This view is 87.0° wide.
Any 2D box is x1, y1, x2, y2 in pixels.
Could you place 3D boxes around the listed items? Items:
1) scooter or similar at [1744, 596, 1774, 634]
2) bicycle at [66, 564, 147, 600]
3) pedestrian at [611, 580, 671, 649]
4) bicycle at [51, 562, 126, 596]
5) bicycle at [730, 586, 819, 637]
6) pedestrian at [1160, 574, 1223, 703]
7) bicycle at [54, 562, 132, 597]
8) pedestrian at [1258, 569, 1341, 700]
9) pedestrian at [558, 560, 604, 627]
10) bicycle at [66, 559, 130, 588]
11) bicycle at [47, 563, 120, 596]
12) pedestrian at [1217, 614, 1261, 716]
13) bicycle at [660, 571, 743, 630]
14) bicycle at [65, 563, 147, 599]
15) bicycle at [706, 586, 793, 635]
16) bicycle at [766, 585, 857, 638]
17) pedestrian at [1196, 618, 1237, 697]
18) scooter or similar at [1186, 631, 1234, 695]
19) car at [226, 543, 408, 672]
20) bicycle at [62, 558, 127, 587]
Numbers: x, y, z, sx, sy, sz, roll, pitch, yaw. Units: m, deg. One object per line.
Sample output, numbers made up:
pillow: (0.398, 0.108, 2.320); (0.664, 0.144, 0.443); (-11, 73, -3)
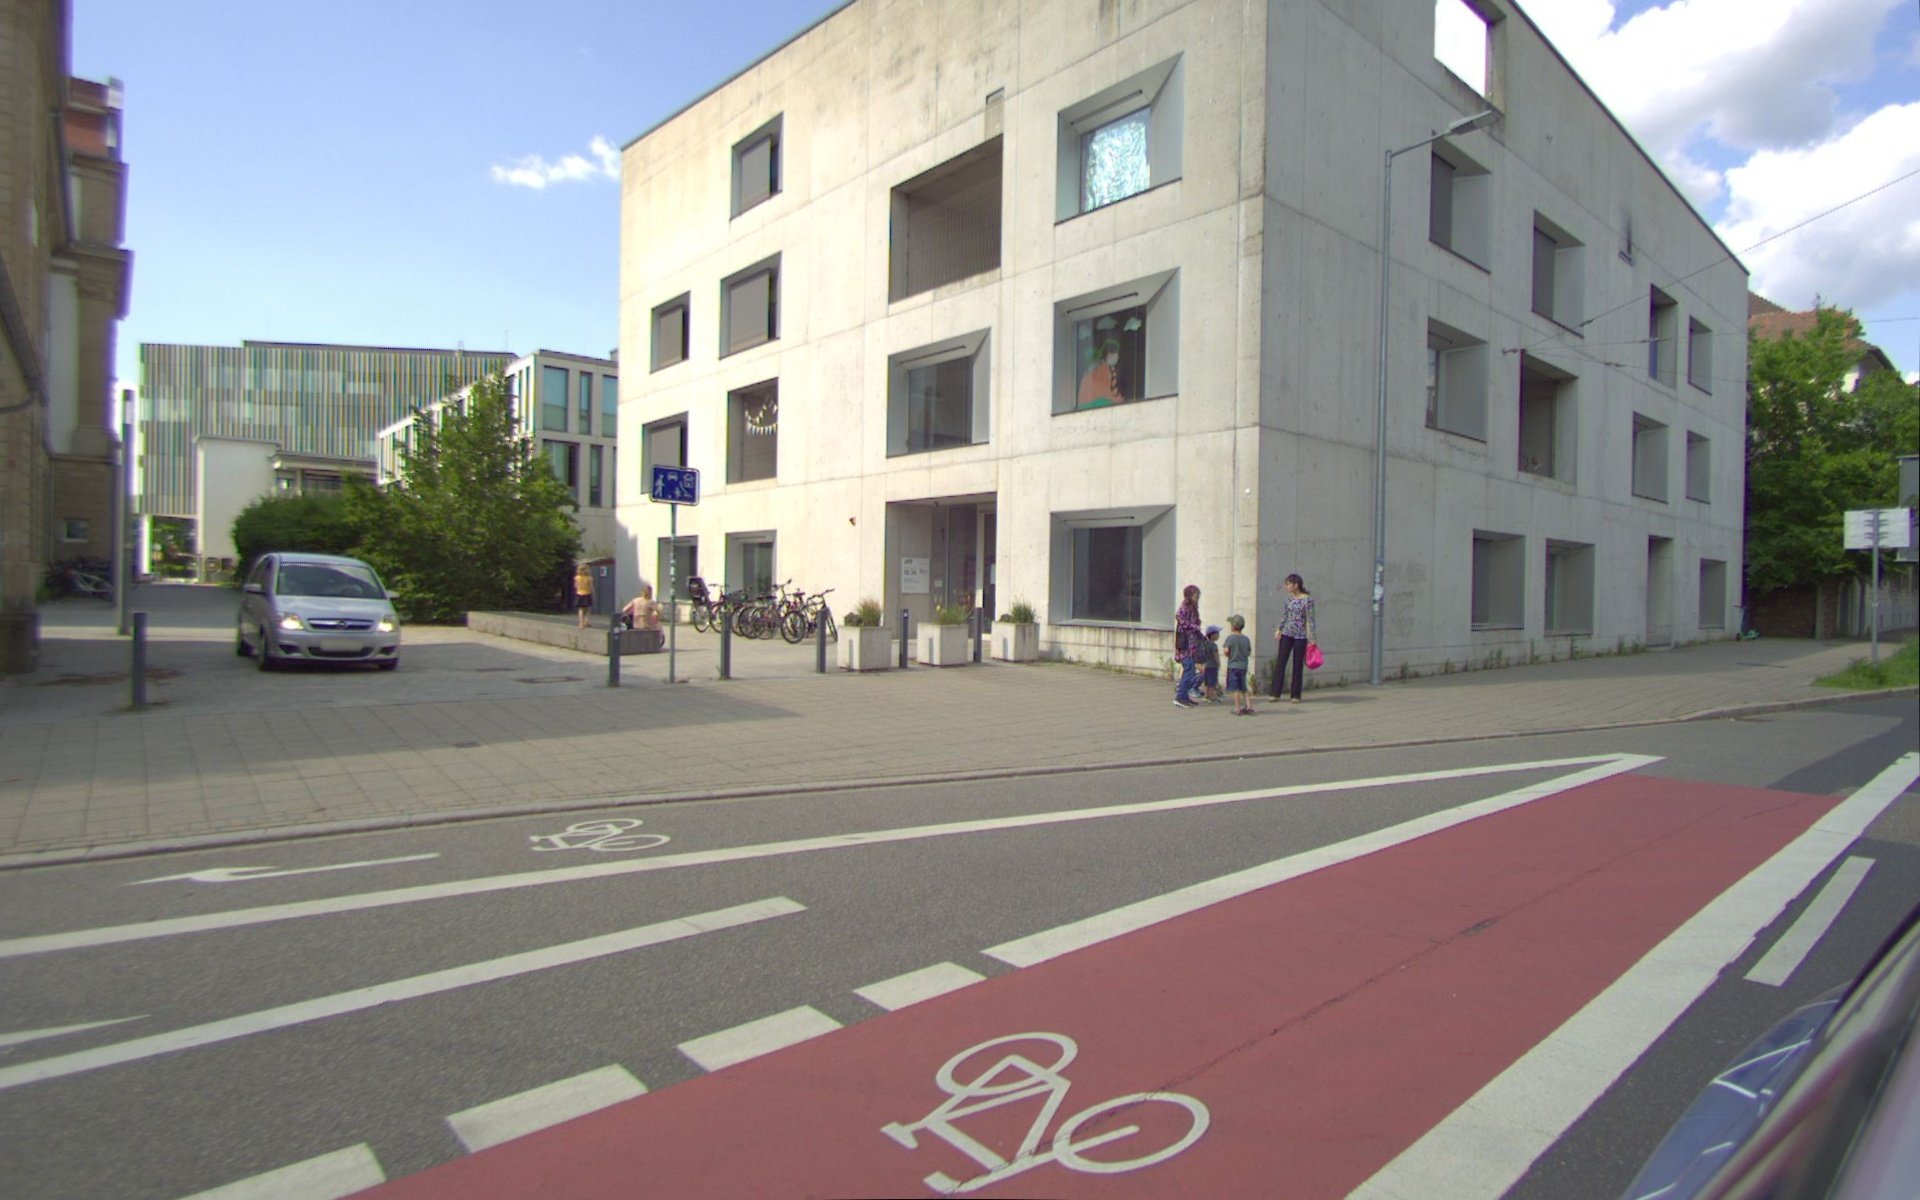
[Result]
scooter or similar: (25.912, 0.481, 32.820); (1.125, 1.196, 0.324); (1, 0, -29)
bicycle: (-25.656, -0.524, 30.439); (0.699, 1.030, 1.790); (3, 2, 45)
pedestrian: (-5.841, 0.248, 18.564); (0.857, 1.216, 0.912); (1, 1, -5)
bicycle: (-28.049, -0.672, 32.592); (0.699, 1.030, 1.790); (3, 2, 45)
bicycle: (-3.984, 0.249, 21.834); (0.699, 1.030, 1.790); (3, 2, 45)
pedestrian: (2.985, 0.484, 13.061); (0.537, 1.600, 0.522); (3, 0, -13)
bicycle: (-27.227, -0.634, 31.800); (0.699, 1.030, 1.790); (3, 2, 45)
pedestrian: (4.664, 0.462, 13.940); (0.731, 1.746, 0.688); (3, 1, -18)
pedestrian: (-6.965, -0.124, 18.600); (0.583, 1.216, 0.525); (1, 1, 22)
bicycle: (-32.581, -1.009, 38.256); (0.699, 1.030, 1.790); (3, 2, 45)
bicycle: (-29.189, -0.679, 33.702); (0.699, 1.030, 1.790); (3, 2, 45)
pedestrian: (3.458, 0.792, 12.564); (0.415, 1.215, 0.405); (3, 0, 7)
bicycle: (-6.142, 0.003, 24.111); (0.699, 1.345, 1.790); (3, 1, 45)
bicycle: (-25.168, -0.552, 29.858); (0.699, 1.030, 1.790); (3, 2, 45)
bicycle: (-4.689, 0.227, 22.590); (0.699, 1.030, 1.790); (3, 2, 45)
bicycle: (-3.045, 0.226, 20.890); (0.699, 1.030, 1.790); (3, 2, 45)
pedestrian: (3.451, 0.768, 13.604); (0.342, 1.023, 0.391); (3, 1, 40)
scooter or similar: (3.471, 0.863, 14.034); (0.545, 0.810, 0.265); (5, 1, 26)
car: (-9.487, 0.068, 14.802); (1.636, 1.625, 3.886); (3, 0, -41)
bicycle: (-32.068, -1.012, 37.506); (0.699, 1.030, 1.790); (3, 2, 45)
